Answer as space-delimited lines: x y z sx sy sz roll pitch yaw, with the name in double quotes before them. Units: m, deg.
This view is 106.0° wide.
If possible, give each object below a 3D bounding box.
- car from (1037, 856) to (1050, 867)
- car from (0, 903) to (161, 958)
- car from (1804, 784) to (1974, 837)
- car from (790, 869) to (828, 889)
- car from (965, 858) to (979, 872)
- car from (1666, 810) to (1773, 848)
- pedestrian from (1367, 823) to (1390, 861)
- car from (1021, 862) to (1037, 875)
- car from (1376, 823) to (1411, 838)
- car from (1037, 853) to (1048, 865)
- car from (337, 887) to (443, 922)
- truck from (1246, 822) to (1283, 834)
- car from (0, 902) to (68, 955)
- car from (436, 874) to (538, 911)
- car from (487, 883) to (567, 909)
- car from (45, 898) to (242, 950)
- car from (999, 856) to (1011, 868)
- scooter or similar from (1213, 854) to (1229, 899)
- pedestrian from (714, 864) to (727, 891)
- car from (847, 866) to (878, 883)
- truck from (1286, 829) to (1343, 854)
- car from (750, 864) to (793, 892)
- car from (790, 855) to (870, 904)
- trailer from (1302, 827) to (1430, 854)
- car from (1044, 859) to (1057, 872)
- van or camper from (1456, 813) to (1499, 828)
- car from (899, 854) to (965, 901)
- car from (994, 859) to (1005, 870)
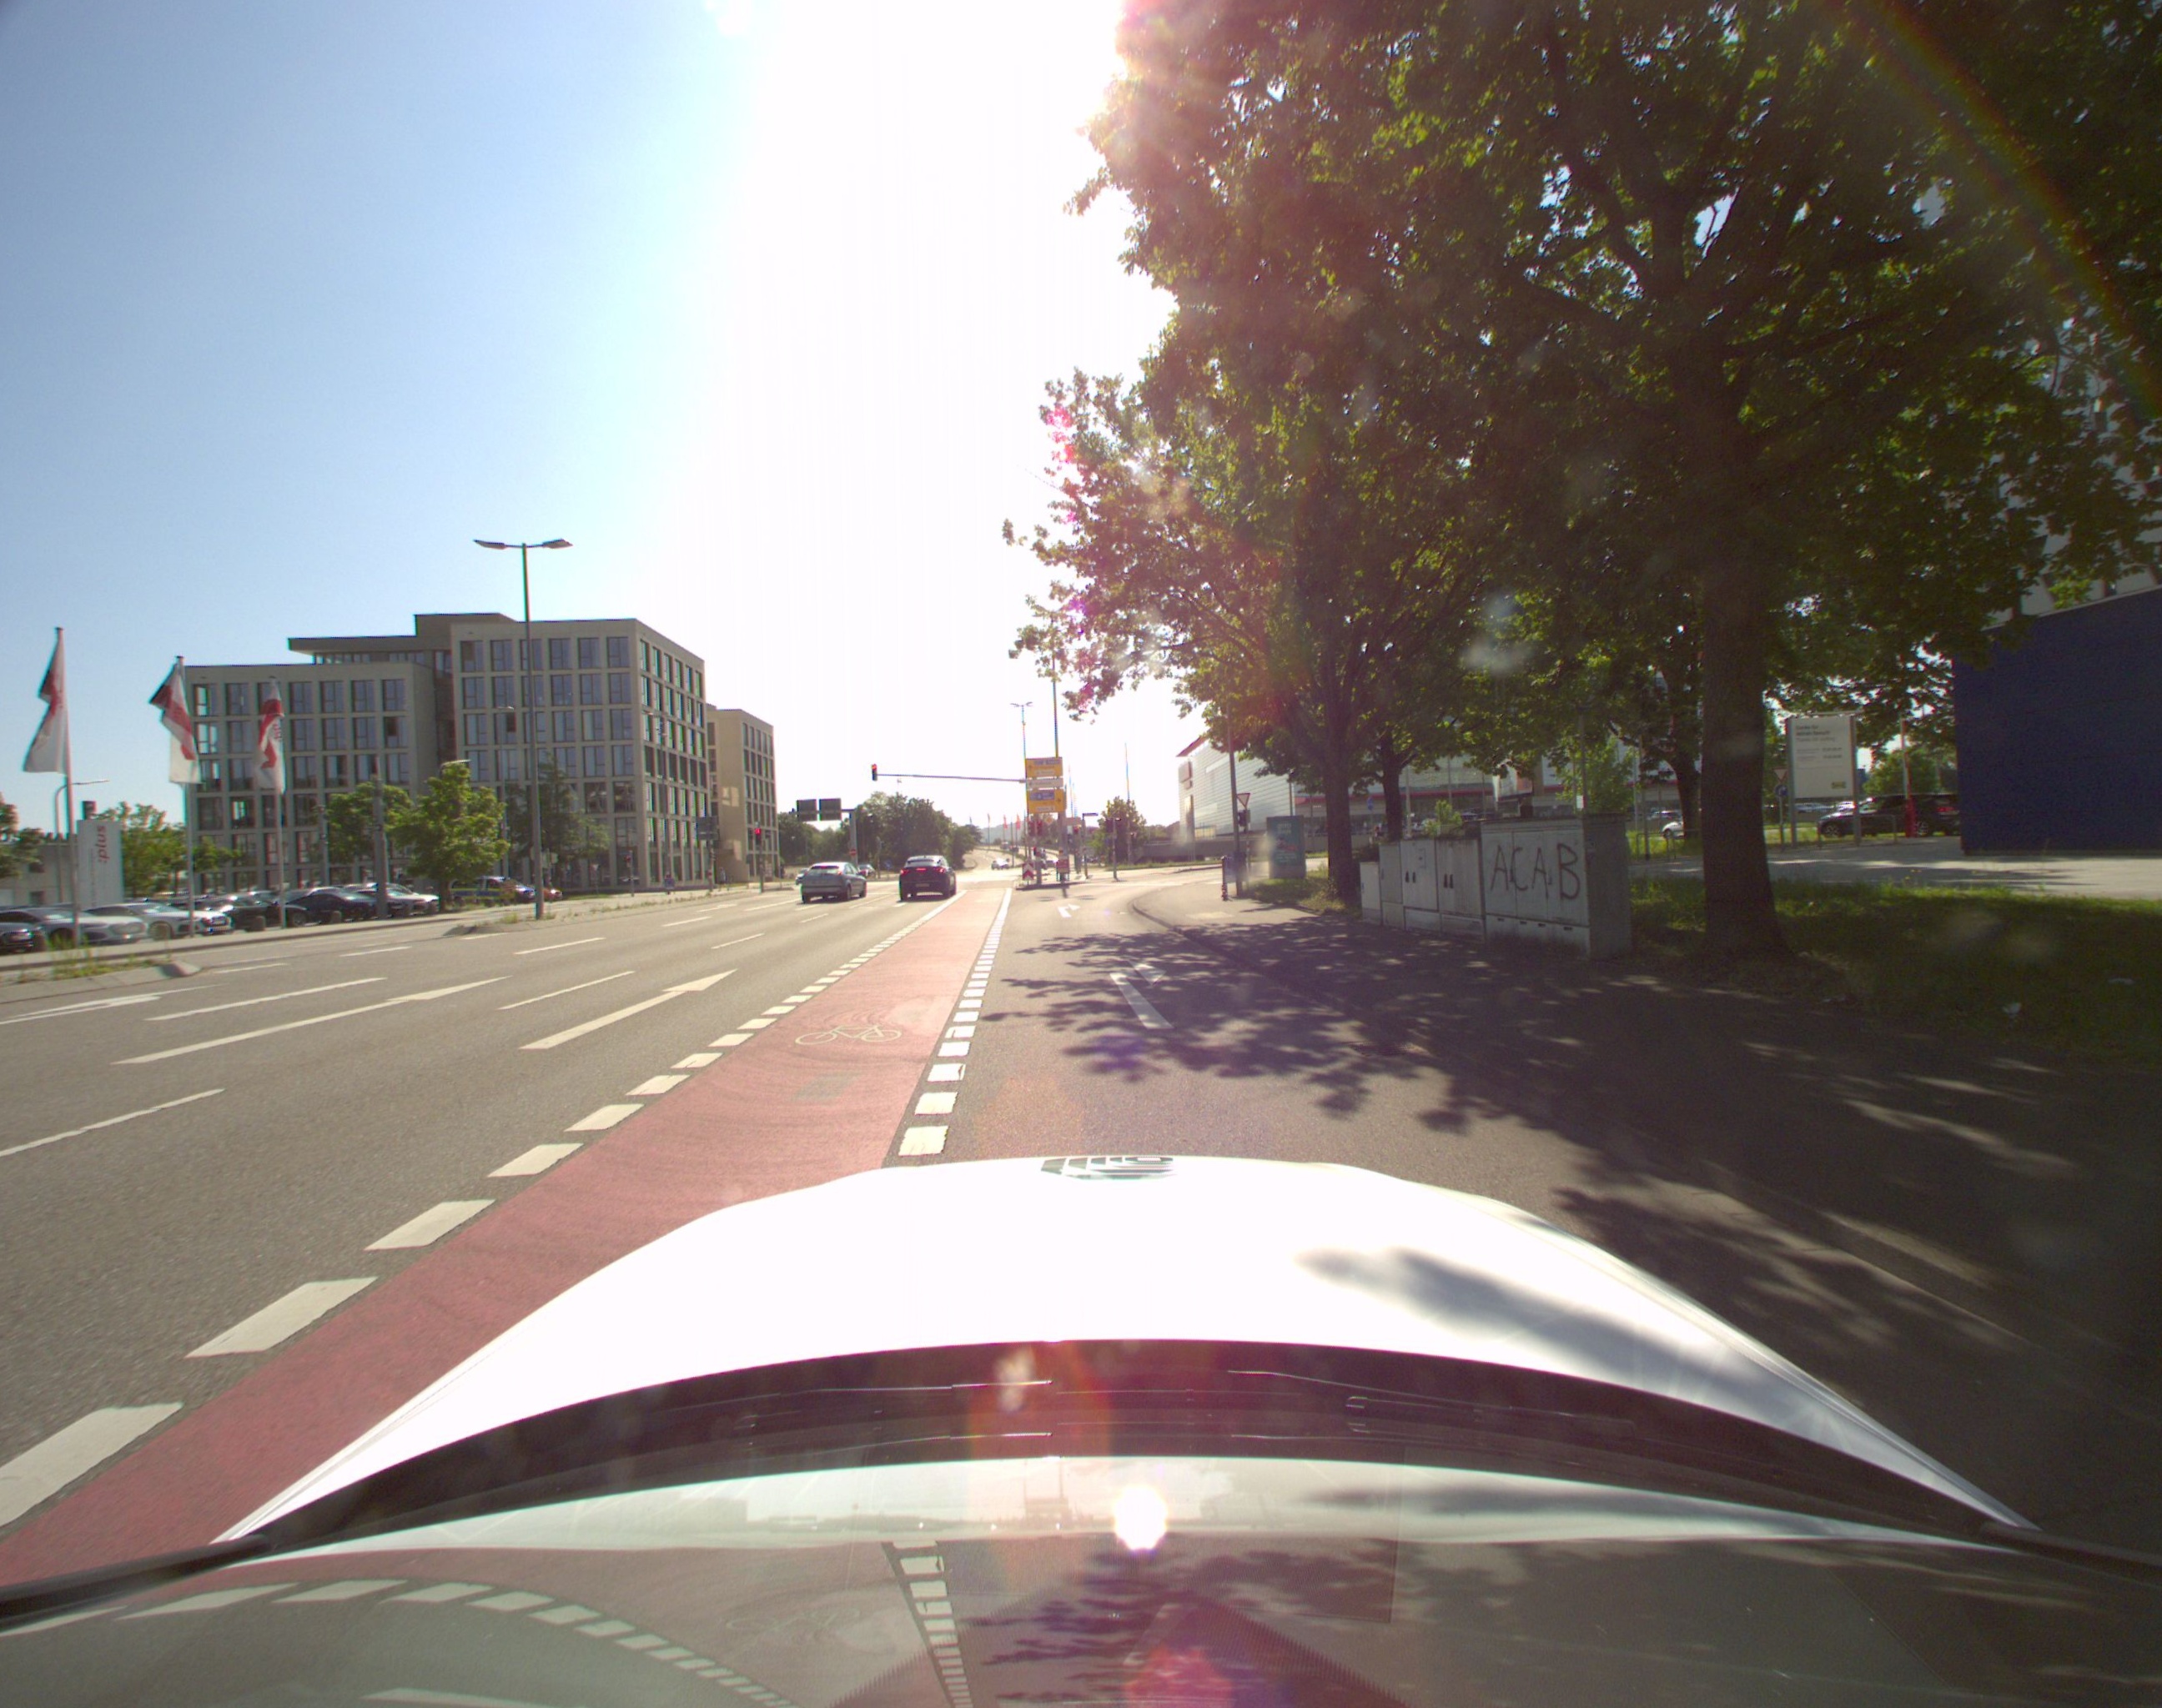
"car" -5.112 0.961 110.366 1.684 1.359 3.997 -1 1 -2
"car" -31.068 2.314 24.590 3.981 1.343 1.996 -3 0 -5
"car" 27.850 -1.453 28.263 1.783 1.489 3.919 -3 0 -5
"car" -23.891 2.176 71.668 1.885 1.464 4.000 -3 0 1
"car" -14.670 1.410 109.519 1.756 1.758 3.595 -1 1 -7
"car" 28.041 -1.061 35.947 1.778 1.489 3.931 -3 0 4
"pedestrian" 14.340 -0.559 39.296 0.628 1.770 0.801 -3 0 -14
"car" -6.004 1.660 94.616 1.684 1.359 3.997 -1 1 -2
"car" 42.624 -3.174 111.079 3.981 2.013 1.996 -1 1 -6
"car" -7.645 0.989 162.140 1.988 2.321 3.997 -1 1 -2
"car" -32.005 2.319 37.778 3.403 1.343 1.644 -3 0 -2
"truck" 31.772 -4.518 140.848 5.894 2.013 1.999 -1 1 -2
"car" -30.886 2.139 22.082 3.981 1.343 1.996 -3 0 -5
"car" -38.295 2.472 52.581 4.903 2.050 1.998 -3 0 -3
"car" -38.002 2.884 55.939 3.978 1.464 1.998 -3 0 -3
"car" -31.286 2.298 27.306 3.981 1.343 1.996 -3 0 -5
"car" -13.121 1.412 141.091 1.989 2.013 3.976 -1 1 -3
"scooter or similar" 3.995 0.621 23.220 0.349 1.233 1.315 -3 0 10
"pedestrian" -28.202 1.811 63.702 0.760 2.013 0.925 -1 1 -29
"car" -21.423 2.022 80.022 1.809 1.464 4.000 -3 0 1
"truck" 22.515 -1.212 78.640 4.868 2.423 1.998 -1 1 -3
"car" -16.145 1.243 42.584 1.212 1.331 2.797 -1 1 -2
"car" -9.811 0.943 32.151 1.989 1.684 3.995 -3 0 -3
"trailer" 27.550 -1.280 78.906 11.841 2.469 1.999 -1 1 -3
"car" -4.731 1.780 126.355 1.753 1.794 3.349 -3 0 2
"van or camper" 54.081 -4.548 111.225 4.975 2.013 1.997 -1 1 -5
"car" -5.819 0.864 32.280 1.802 1.640 4.456 -3 0 -1
"car" -13.320 1.689 133.362 1.757 1.794 3.340 -3 0 -5
